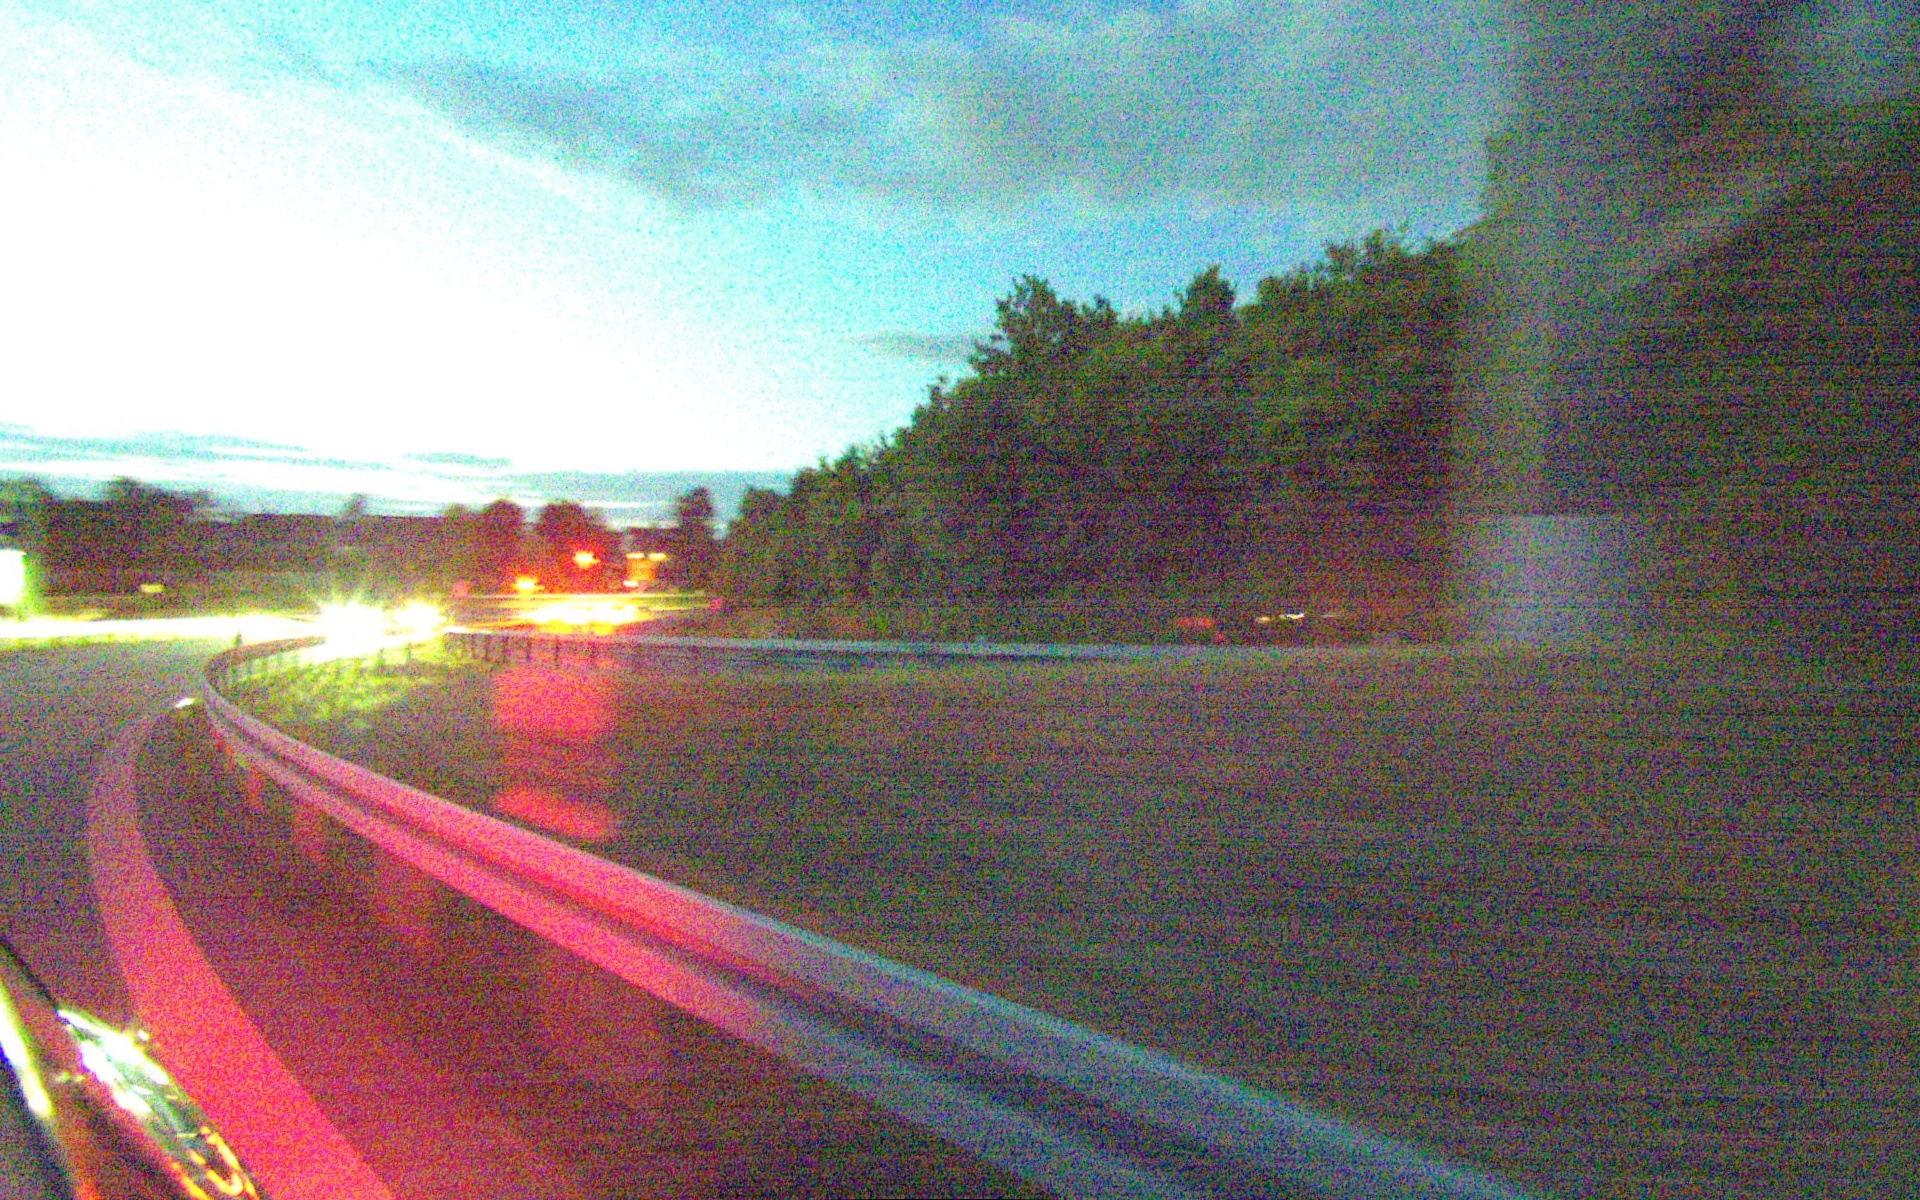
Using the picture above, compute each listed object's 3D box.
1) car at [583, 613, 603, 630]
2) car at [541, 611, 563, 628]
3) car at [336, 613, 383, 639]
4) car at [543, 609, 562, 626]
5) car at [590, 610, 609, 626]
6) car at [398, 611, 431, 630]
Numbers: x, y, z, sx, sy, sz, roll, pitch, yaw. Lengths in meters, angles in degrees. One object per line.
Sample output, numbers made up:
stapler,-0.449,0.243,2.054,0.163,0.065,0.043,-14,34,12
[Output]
car,-34.649,2.030,95.652,1.660,1.470,3.825,1,0,-19
car,-38.519,1.832,95.551,1.686,1.455,3.997,1,0,-19
car,-36.834,1.551,62.130,1.733,1.470,4.206,1,0,-20
car,-41.371,1.782,102.800,1.675,1.485,3.884,-1,3,-20
car,-36.233,1.793,101.831,1.729,1.471,4.013,-1,2,-19
car,-45.945,1.722,85.316,1.630,1.461,3.499,0,0,-14
